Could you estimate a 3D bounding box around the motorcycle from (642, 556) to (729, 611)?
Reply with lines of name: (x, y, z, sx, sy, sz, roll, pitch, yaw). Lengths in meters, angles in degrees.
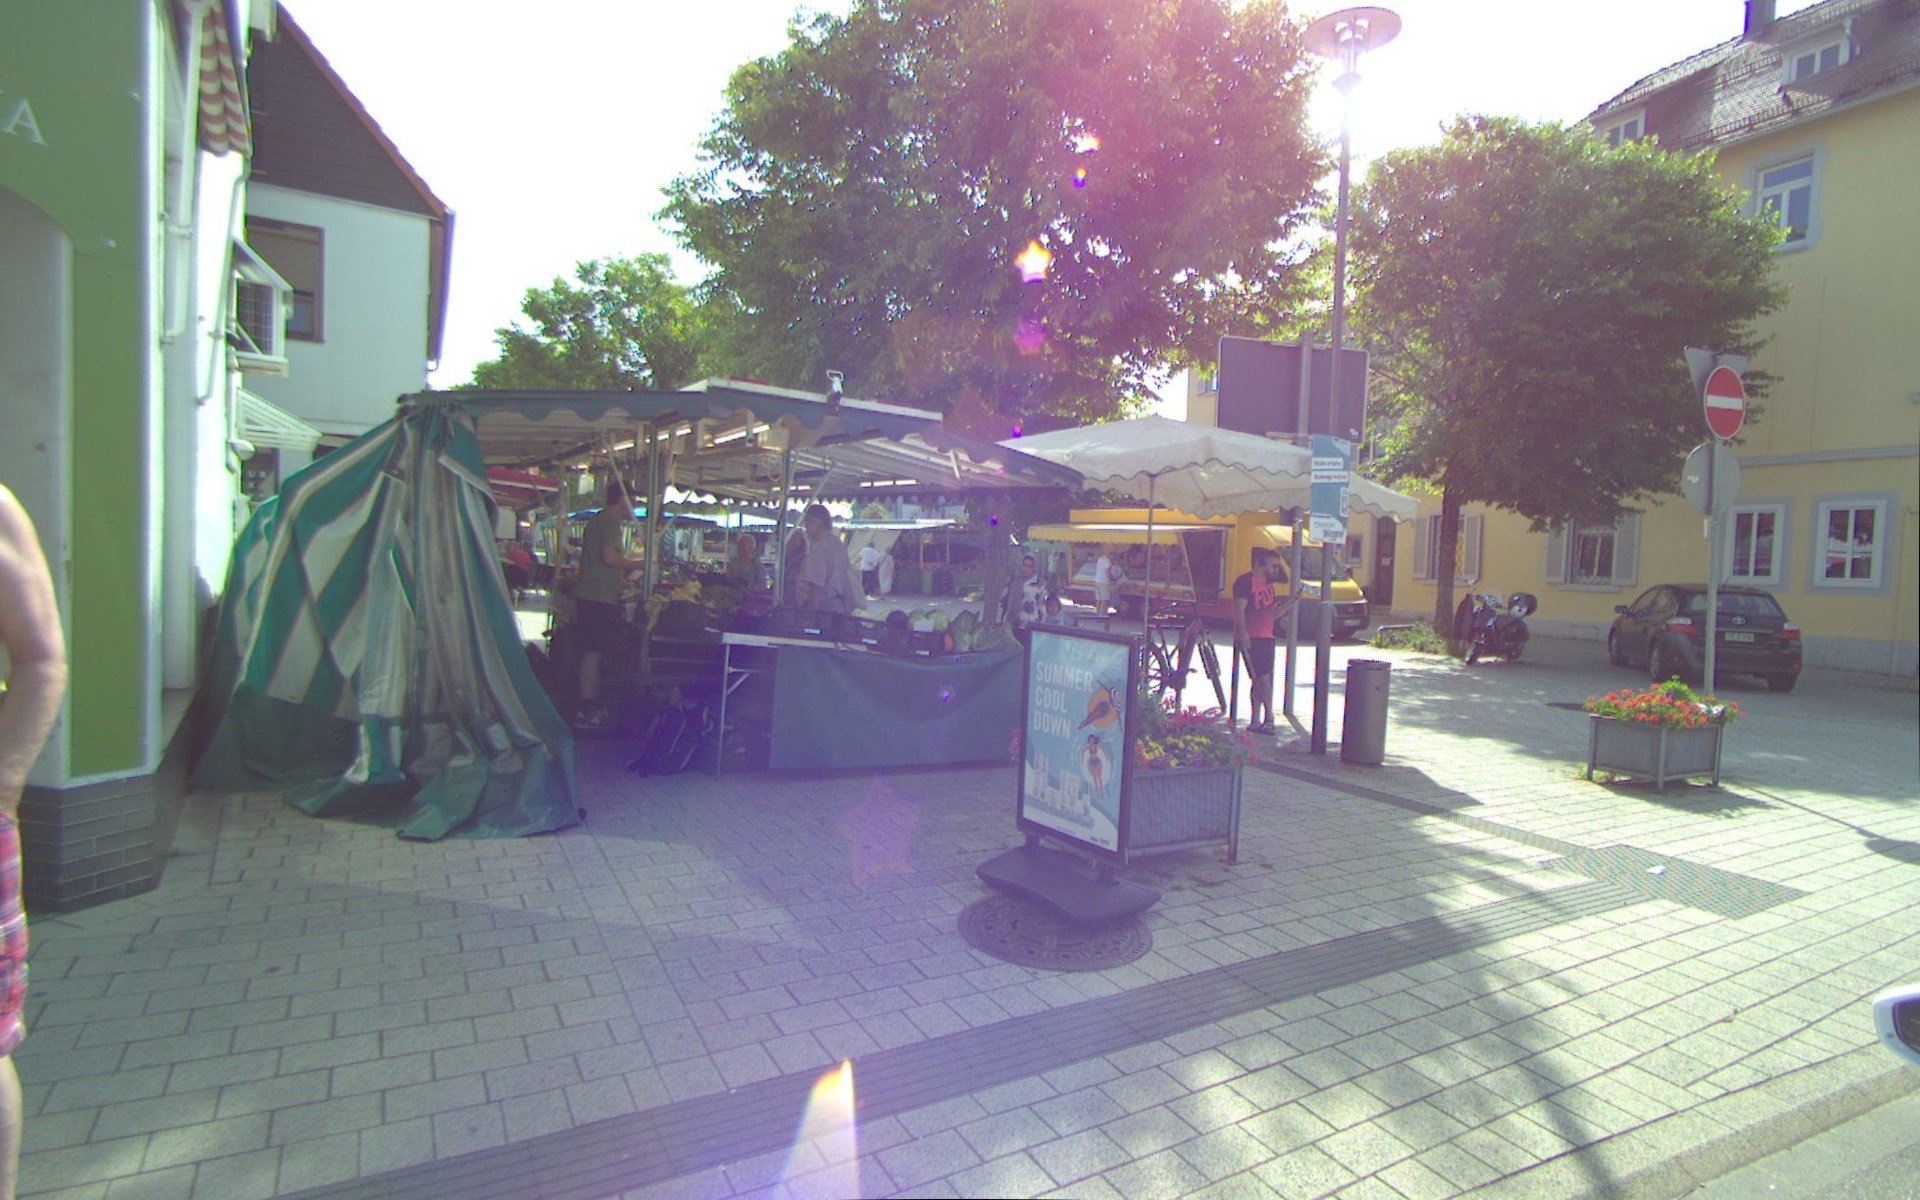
motorcycle: (-6.804, -0.403, 24.907, 1.973, 1.211, 0.641, 4, 1, -17)

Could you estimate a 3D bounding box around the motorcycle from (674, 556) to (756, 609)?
motorcycle: (-6.313, -0.449, 25.887, 1.973, 1.211, 0.641, 4, 0, -17)

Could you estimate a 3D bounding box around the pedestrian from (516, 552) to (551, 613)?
pedestrian: (-9.004, -0.377, 21.183, 0.565, 1.217, 0.646, 3, 1, -29)

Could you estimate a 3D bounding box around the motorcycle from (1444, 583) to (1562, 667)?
motorcycle: (9.583, 0.406, 17.706, 2.064, 1.379, 0.880, 0, 2, -32)

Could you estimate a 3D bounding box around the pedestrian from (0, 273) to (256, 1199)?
pedestrian: (-1.962, 0.378, 1.677, 0.890, 1.840, 1.020, 4, 6, -6)

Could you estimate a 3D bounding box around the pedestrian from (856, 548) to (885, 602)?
pedestrian: (-2.837, -0.793, 31.890, 0.575, 1.704, 0.677, 2, 3, 43)

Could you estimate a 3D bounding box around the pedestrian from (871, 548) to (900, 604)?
pedestrian: (-2.327, -0.763, 31.471, 0.573, 1.705, 0.679, 4, 4, 35)

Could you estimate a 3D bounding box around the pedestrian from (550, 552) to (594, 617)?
pedestrian: (-7.672, -0.314, 19.857, 0.567, 1.217, 0.643, 3, 2, -40)

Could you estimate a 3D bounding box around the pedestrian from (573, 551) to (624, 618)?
pedestrian: (-6.910, -0.286, 19.190, 0.695, 1.217, 0.565, 3, 2, -43)

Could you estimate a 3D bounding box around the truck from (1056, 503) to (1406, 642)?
truck: (6.130, -0.787, 24.751, 2.975, 2.795, 8.789, 0, 3, -30)

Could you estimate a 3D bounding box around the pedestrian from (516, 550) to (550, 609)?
pedestrian: (-9.274, -0.446, 21.813, 0.565, 1.217, 0.646, 3, 1, -29)

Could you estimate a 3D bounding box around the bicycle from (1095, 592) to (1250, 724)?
bicycle: (2.253, 0.559, 10.505, 1.849, 1.252, 0.609, 0, 2, -43)

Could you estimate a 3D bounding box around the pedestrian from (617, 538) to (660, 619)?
pedestrian: (-6.559, -0.441, 20.494, 0.690, 1.574, 0.569, 4, 1, -24)

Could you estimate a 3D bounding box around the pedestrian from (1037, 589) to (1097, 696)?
pedestrian: (1.237, 0.474, 11.518, 0.506, 1.176, 0.622, 2, 1, 22)

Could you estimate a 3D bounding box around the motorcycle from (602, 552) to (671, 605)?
motorcycle: (-8.157, -0.536, 25.338, 1.515, 1.211, 0.638, 4, 0, -30)

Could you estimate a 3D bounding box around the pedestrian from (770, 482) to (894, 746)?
pedestrian: (-1.029, 0.099, 8.126, 0.642, 2.012, 0.704, 3, 2, 39)

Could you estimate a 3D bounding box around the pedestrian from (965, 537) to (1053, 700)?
pedestrian: (0.553, 0.190, 11.264, 0.694, 1.747, 0.787, 2, 1, 25)

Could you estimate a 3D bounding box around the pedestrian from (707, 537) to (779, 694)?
pedestrian: (-2.380, 0.161, 10.996, 0.517, 1.648, 0.700, 1, 1, -34)

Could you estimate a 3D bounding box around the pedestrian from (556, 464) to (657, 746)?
pedestrian: (-2.634, 0.035, 7.529, 0.498, 1.997, 0.707, 2, 1, -3)

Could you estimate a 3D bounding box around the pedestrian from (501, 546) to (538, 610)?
pedestrian: (-8.748, -0.445, 19.929, 0.565, 1.217, 0.646, 3, 1, -29)

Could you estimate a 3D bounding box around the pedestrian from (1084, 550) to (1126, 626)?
pedestrian: (3.545, -0.316, 24.597, 0.676, 1.811, 0.718, -2, 4, -39)

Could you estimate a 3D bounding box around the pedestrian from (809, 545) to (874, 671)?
pedestrian: (-1.501, 0.095, 12.689, 0.614, 1.538, 0.629, 1, 1, -25)

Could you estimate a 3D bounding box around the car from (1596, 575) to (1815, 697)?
car: (11.856, 0.455, 16.303, 1.886, 1.564, 3.956, 3, 4, 23)

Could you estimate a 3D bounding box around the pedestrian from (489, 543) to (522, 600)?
pedestrian: (-10.073, -0.643, 22.267, 0.565, 1.217, 0.646, 3, 1, -29)

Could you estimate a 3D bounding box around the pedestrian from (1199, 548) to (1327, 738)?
pedestrian: (2.817, 0.396, 9.351, 0.871, 1.680, 0.569, 4, 1, -24)

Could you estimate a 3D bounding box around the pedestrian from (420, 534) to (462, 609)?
pedestrian: (-9.782, -0.538, 18.964, 0.618, 1.348, 0.694, 3, 1, -26)

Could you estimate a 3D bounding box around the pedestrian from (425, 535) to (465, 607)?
pedestrian: (-10.146, -0.571, 19.809, 0.618, 1.348, 0.694, 3, 1, -26)

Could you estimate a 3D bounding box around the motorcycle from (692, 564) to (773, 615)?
motorcycle: (-6.116, -0.282, 27.038, 1.965, 1.211, 0.644, 4, 0, 12)
